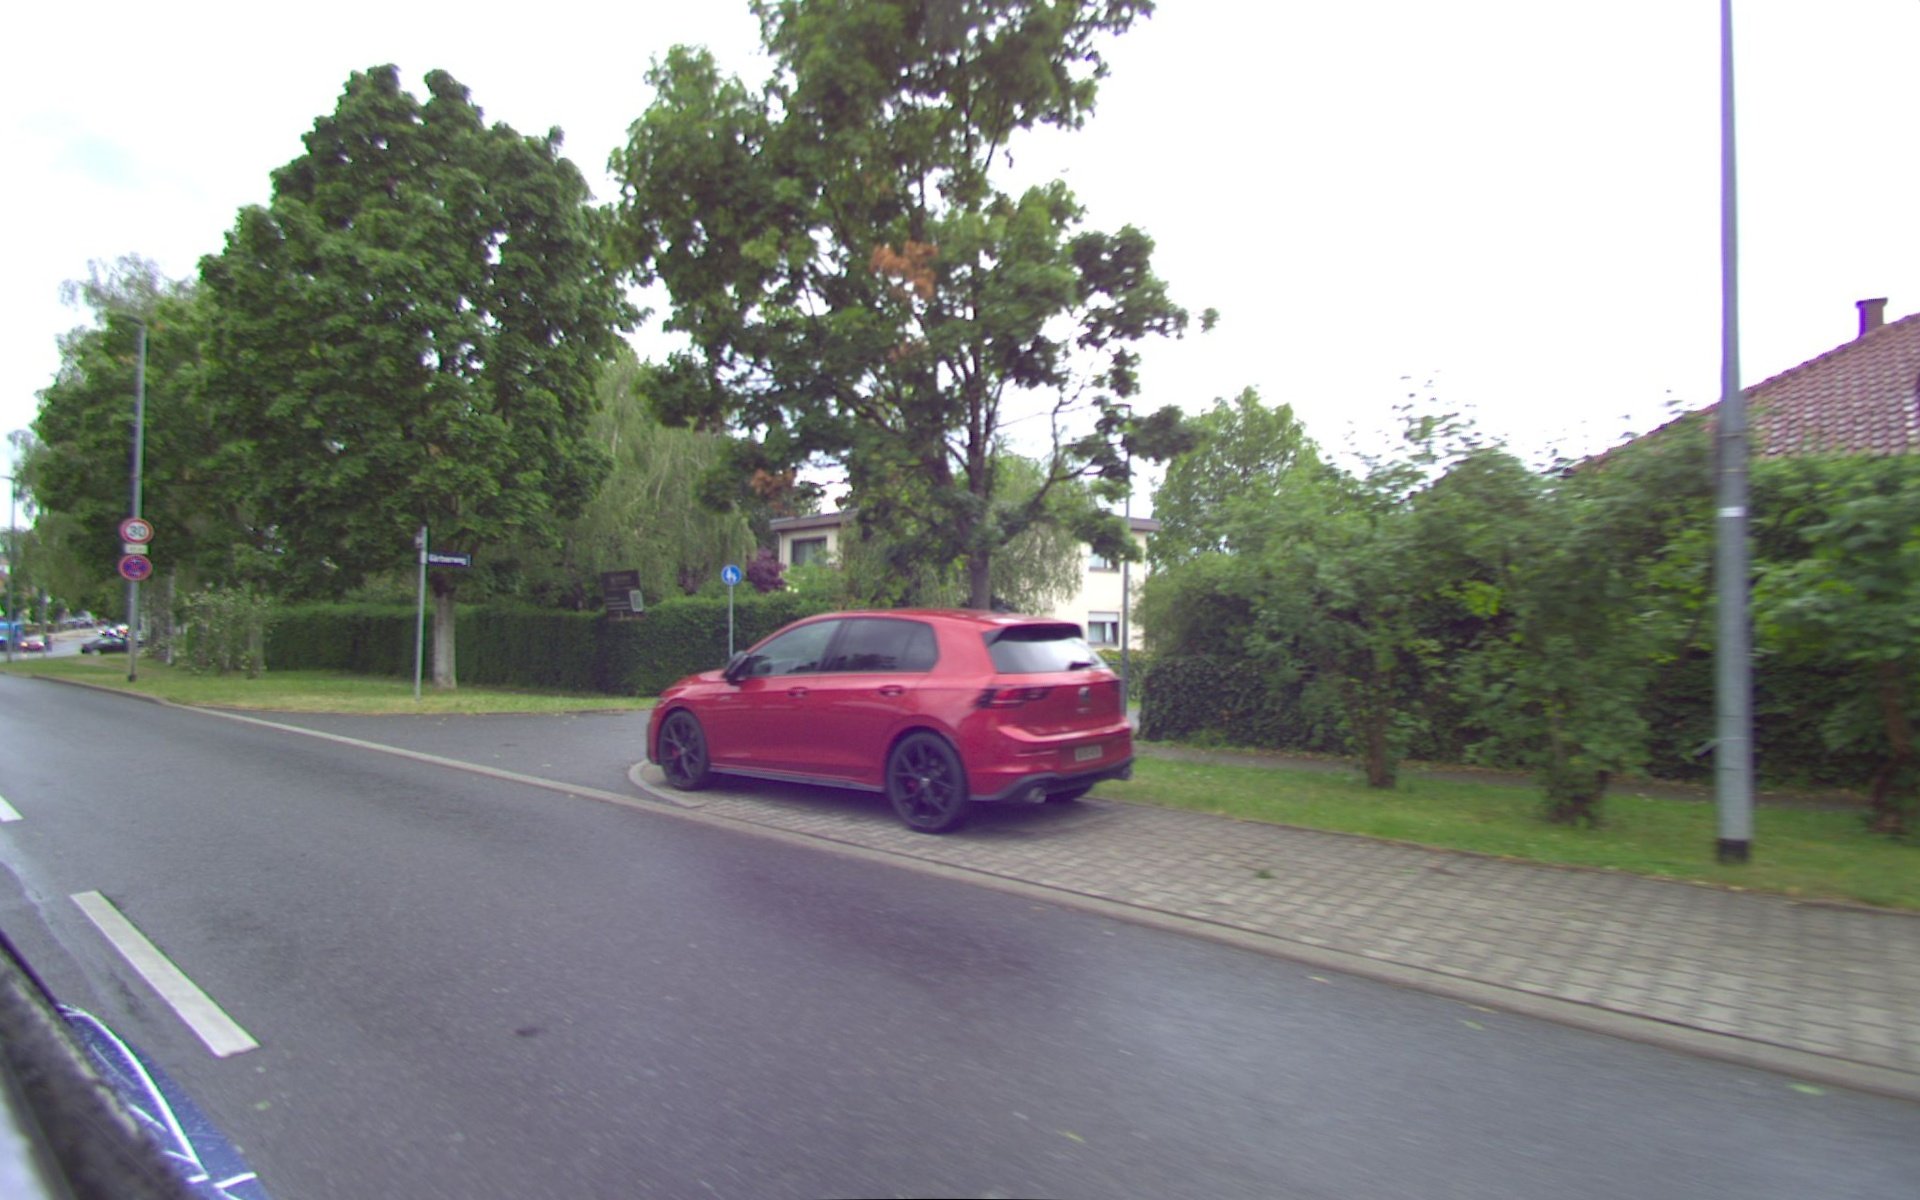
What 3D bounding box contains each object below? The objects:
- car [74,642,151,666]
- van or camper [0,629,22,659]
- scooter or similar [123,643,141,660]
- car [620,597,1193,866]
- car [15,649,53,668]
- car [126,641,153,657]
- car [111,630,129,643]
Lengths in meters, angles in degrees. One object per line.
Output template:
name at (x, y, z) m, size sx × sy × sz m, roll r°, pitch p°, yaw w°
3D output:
car at (-65.536, 4.157, 78.368) m, size 4.368 × 1.428 × 1.760 m, roll -3°, pitch 0°, yaw -34°
van or camper at (-91.311, 4.161, 96.149) m, size 2.114 × 2.628 × 5.798 m, roll 3°, pitch -2°, yaw -33°
scooter or similar at (-57.742, 3.606, 70.583) m, size 0.418 × 1.167 × 1.494 m, roll -2°, pitch -2°, yaw -14°
car at (-0.597, 0.774, 7.650) m, size 4.246 × 1.477 × 1.824 m, roll -2°, pitch -2°, yaw 40°
car at (-86.447, 5.455, 94.501) m, size 1.865 × 1.552 × 4.011 m, roll -1°, pitch -1°, yaw -32°
car at (-90.363, 5.422, 111.536) m, size 1.746 × 1.619 × 4.012 m, roll 1°, pitch -1°, yaw -31°
car at (-106.443, 4.620, 128.253) m, size 1.733 × 1.452 × 4.163 m, roll -1°, pitch -2°, yaw -40°
